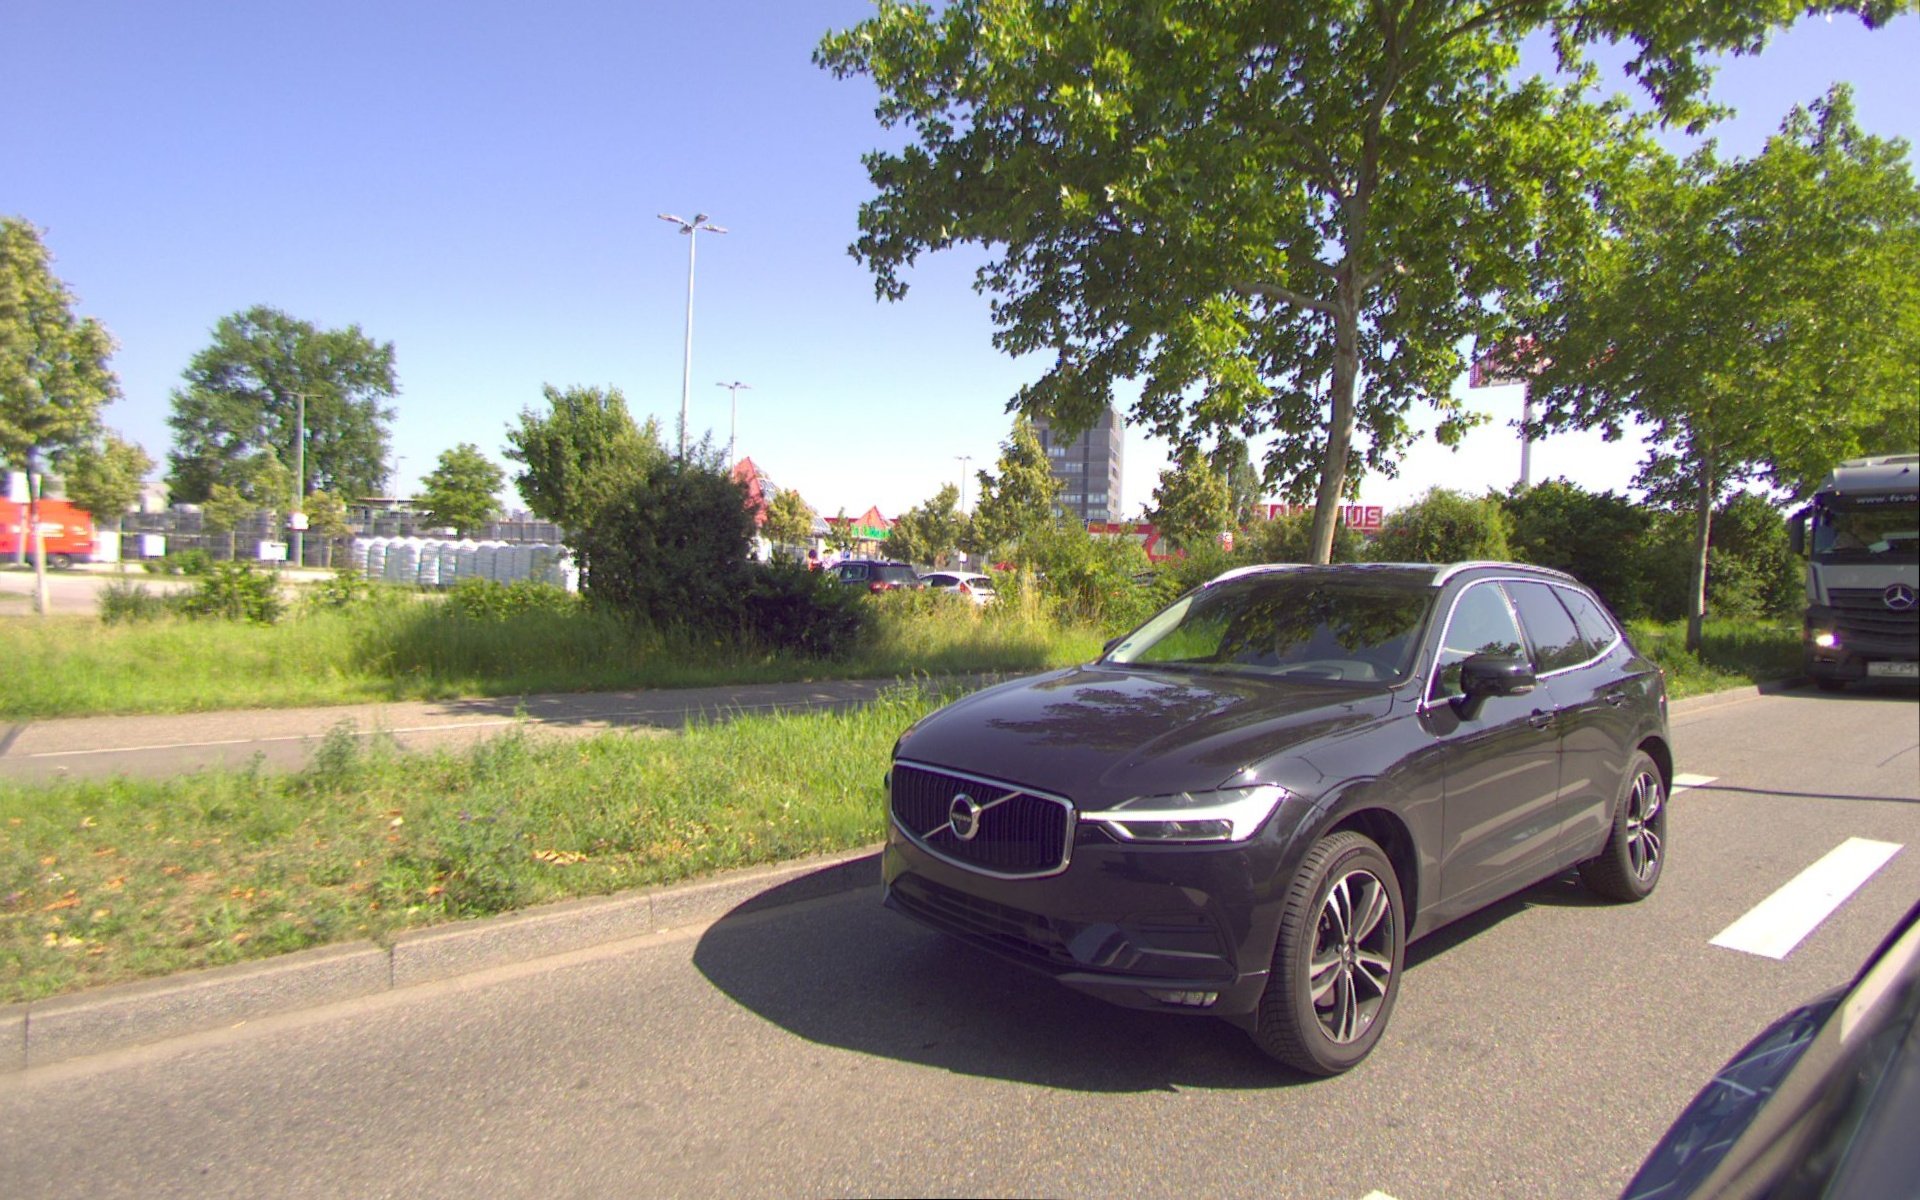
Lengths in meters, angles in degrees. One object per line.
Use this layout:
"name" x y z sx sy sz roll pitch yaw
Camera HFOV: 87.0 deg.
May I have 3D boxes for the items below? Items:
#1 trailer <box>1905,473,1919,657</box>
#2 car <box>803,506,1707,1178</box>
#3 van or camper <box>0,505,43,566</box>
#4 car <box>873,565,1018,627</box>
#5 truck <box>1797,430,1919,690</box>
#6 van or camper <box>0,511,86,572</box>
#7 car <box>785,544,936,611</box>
"trailer" 24.176 -0.752 23.070 7.596 3.925 2.743 -1 2 -39
"car" 1.650 0.555 4.577 4.356 1.611 1.878 -1 0 -41
"van or camper" -48.863 -3.206 48.597 1.971 2.979 7.253 0 0 15
"car" -0.471 -0.131 28.427 1.850 1.611 4.075 -1 0 -43
"truck" 17.861 -0.645 18.050 8.564 3.938 2.737 -1 2 -38
"van or camper" -45.431 -2.751 47.185 1.971 2.739 7.253 0 0 15
"car" -2.663 -0.565 26.477 1.850 1.611 4.075 -1 0 -43
